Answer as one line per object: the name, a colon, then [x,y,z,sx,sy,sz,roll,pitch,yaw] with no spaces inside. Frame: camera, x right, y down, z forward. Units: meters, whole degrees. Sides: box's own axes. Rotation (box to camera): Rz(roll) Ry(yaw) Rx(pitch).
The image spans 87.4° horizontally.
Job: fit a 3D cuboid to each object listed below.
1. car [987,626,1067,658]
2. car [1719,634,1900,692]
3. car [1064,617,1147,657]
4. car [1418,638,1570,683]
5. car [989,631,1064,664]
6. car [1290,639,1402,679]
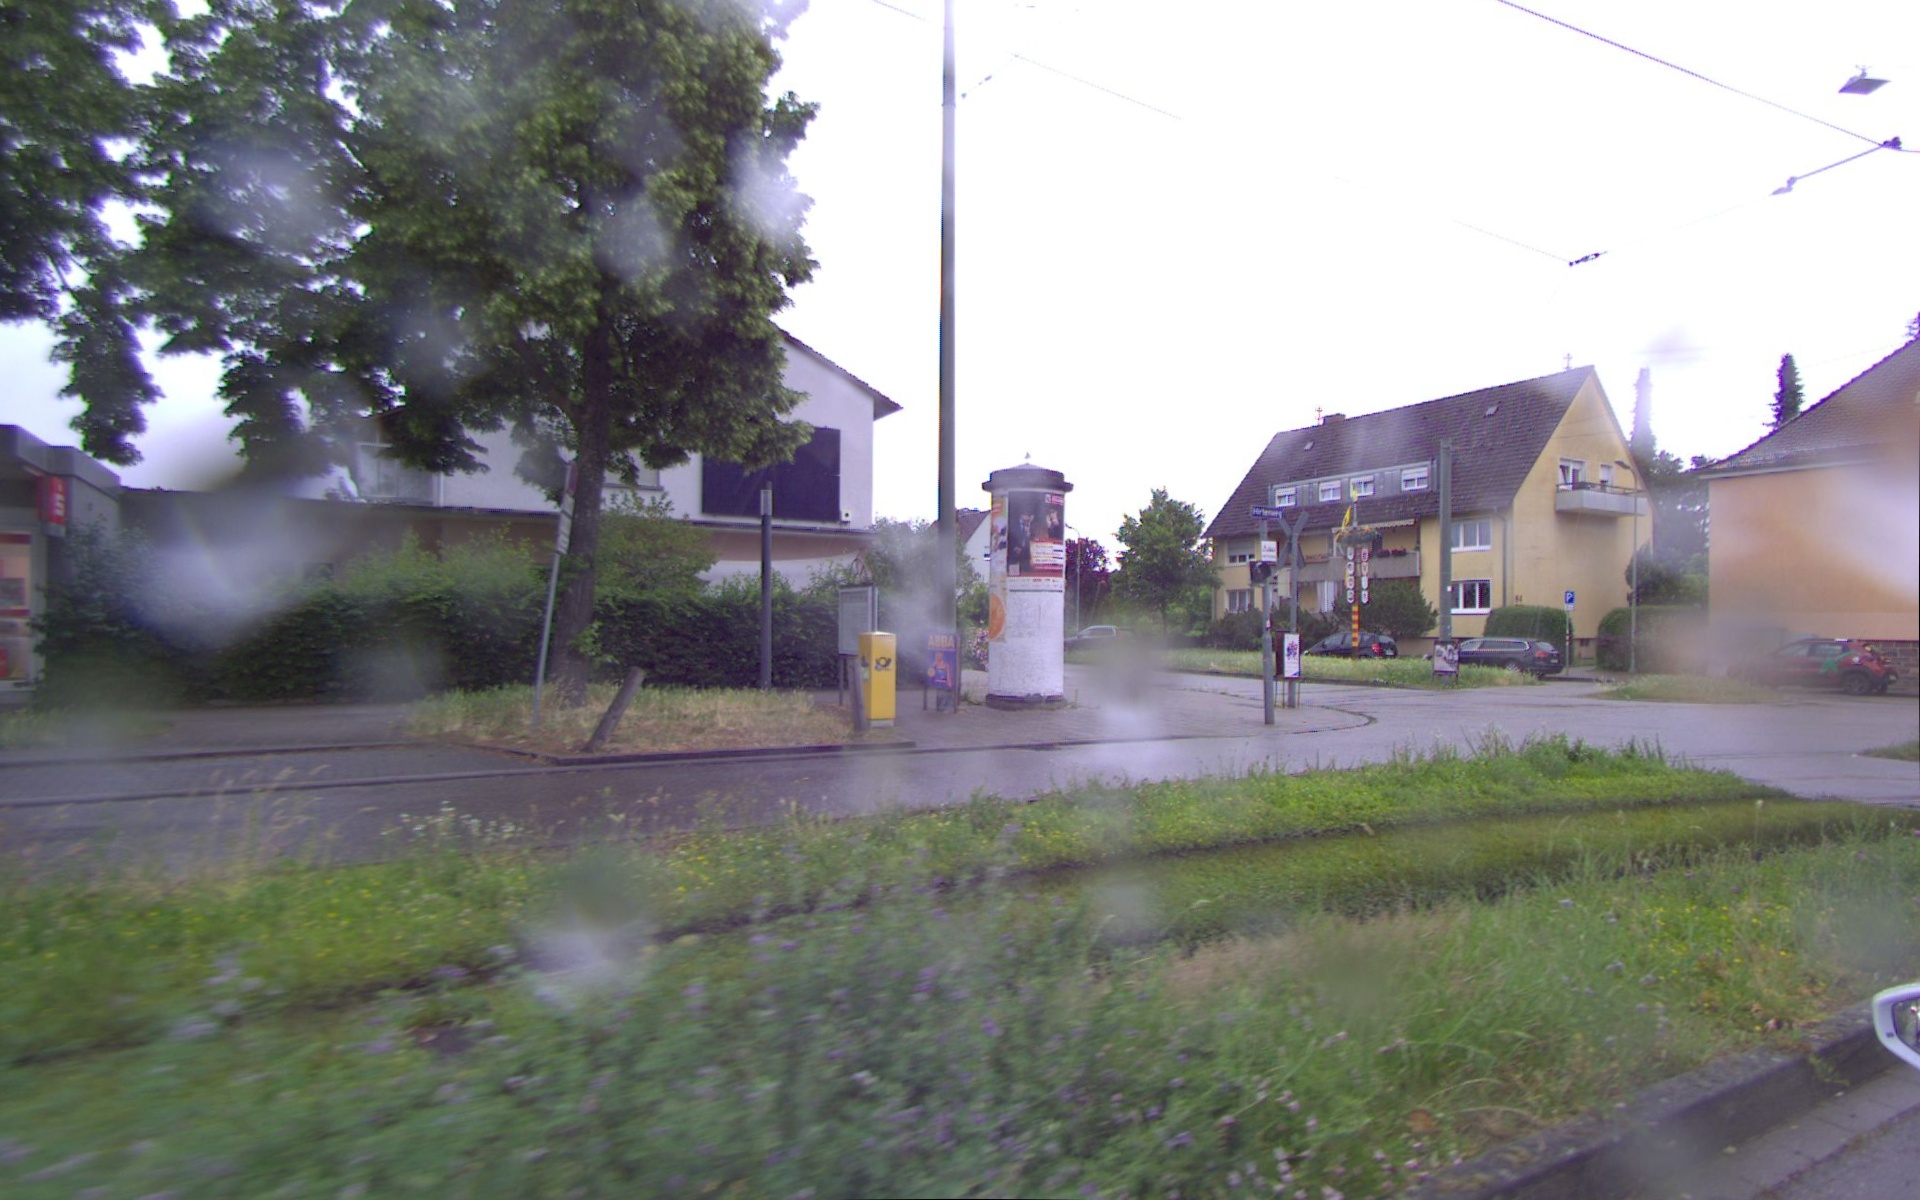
car: [3.179,1.987,48.305,1.977,1.495,3.967,1,-2,-31]
car: [24.004,1.721,28.495,1.704,1.357,3.584,1,0,-32]
car: [7.433,1.857,51.699,1.982,1.818,3.958,1,1,-37]
car: [19.019,2.113,35.940,1.945,1.414,4.467,1,-1,-32]
car: [3.691,2.645,56.551,1.982,1.595,4.082,1,1,-38]
car: [15.565,2.354,40.678,1.741,1.350,3.964,1,0,-33]
